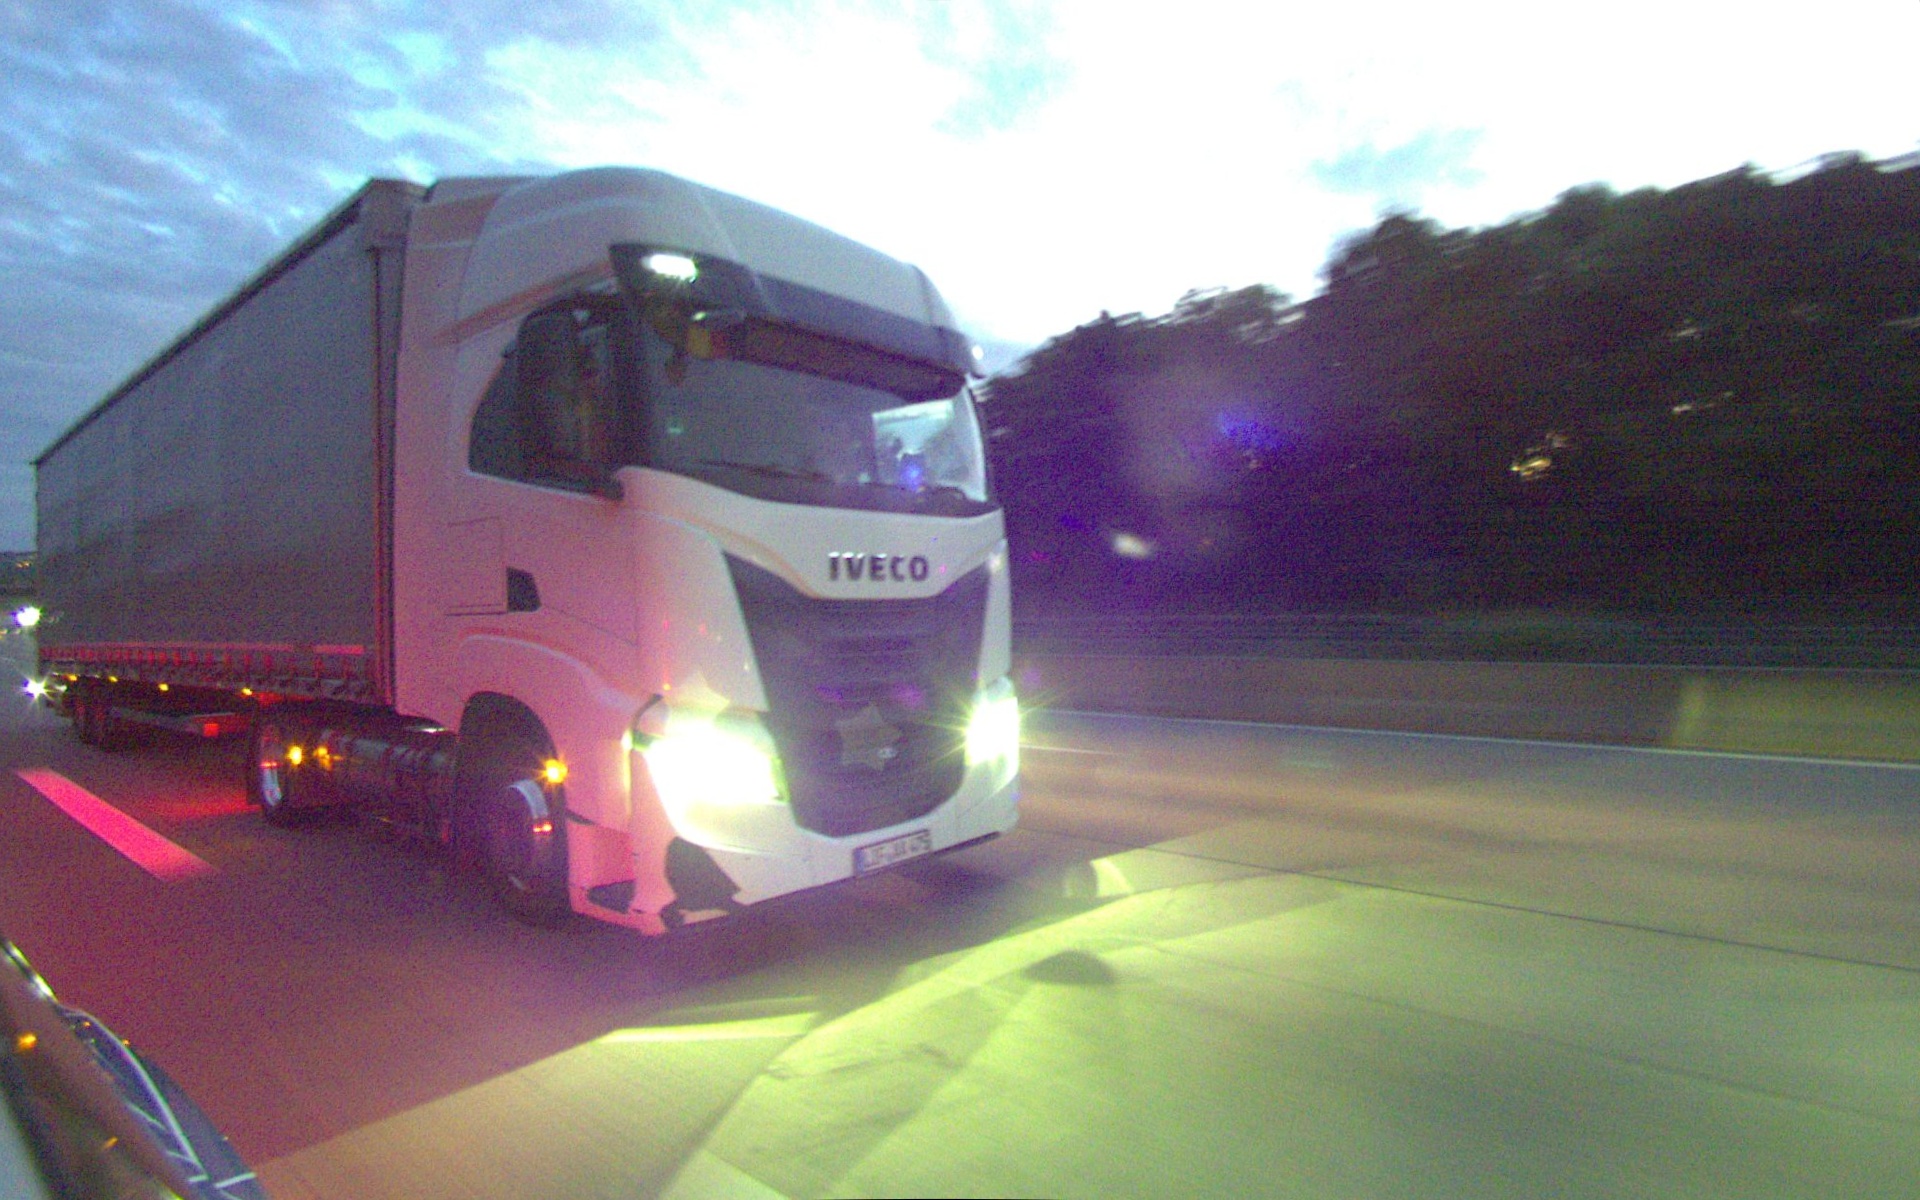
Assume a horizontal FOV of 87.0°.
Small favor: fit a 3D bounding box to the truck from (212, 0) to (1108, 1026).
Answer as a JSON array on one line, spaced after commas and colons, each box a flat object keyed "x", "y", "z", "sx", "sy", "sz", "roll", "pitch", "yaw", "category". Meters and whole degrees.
[{"x": -2.412, "y": -0.408, "z": 6.641, "sx": 6.151, "sy": 3.931, "sz": 2.750, "roll": -2, "pitch": -1, "yaw": 41, "category": "truck"}]

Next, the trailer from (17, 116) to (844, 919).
[{"x": -7.286, "y": -0.255, "z": 10.897, "sx": 14.812, "sy": 3.945, "sz": 2.745, "roll": -2, "pitch": -1, "yaw": 41, "category": "trailer"}]
